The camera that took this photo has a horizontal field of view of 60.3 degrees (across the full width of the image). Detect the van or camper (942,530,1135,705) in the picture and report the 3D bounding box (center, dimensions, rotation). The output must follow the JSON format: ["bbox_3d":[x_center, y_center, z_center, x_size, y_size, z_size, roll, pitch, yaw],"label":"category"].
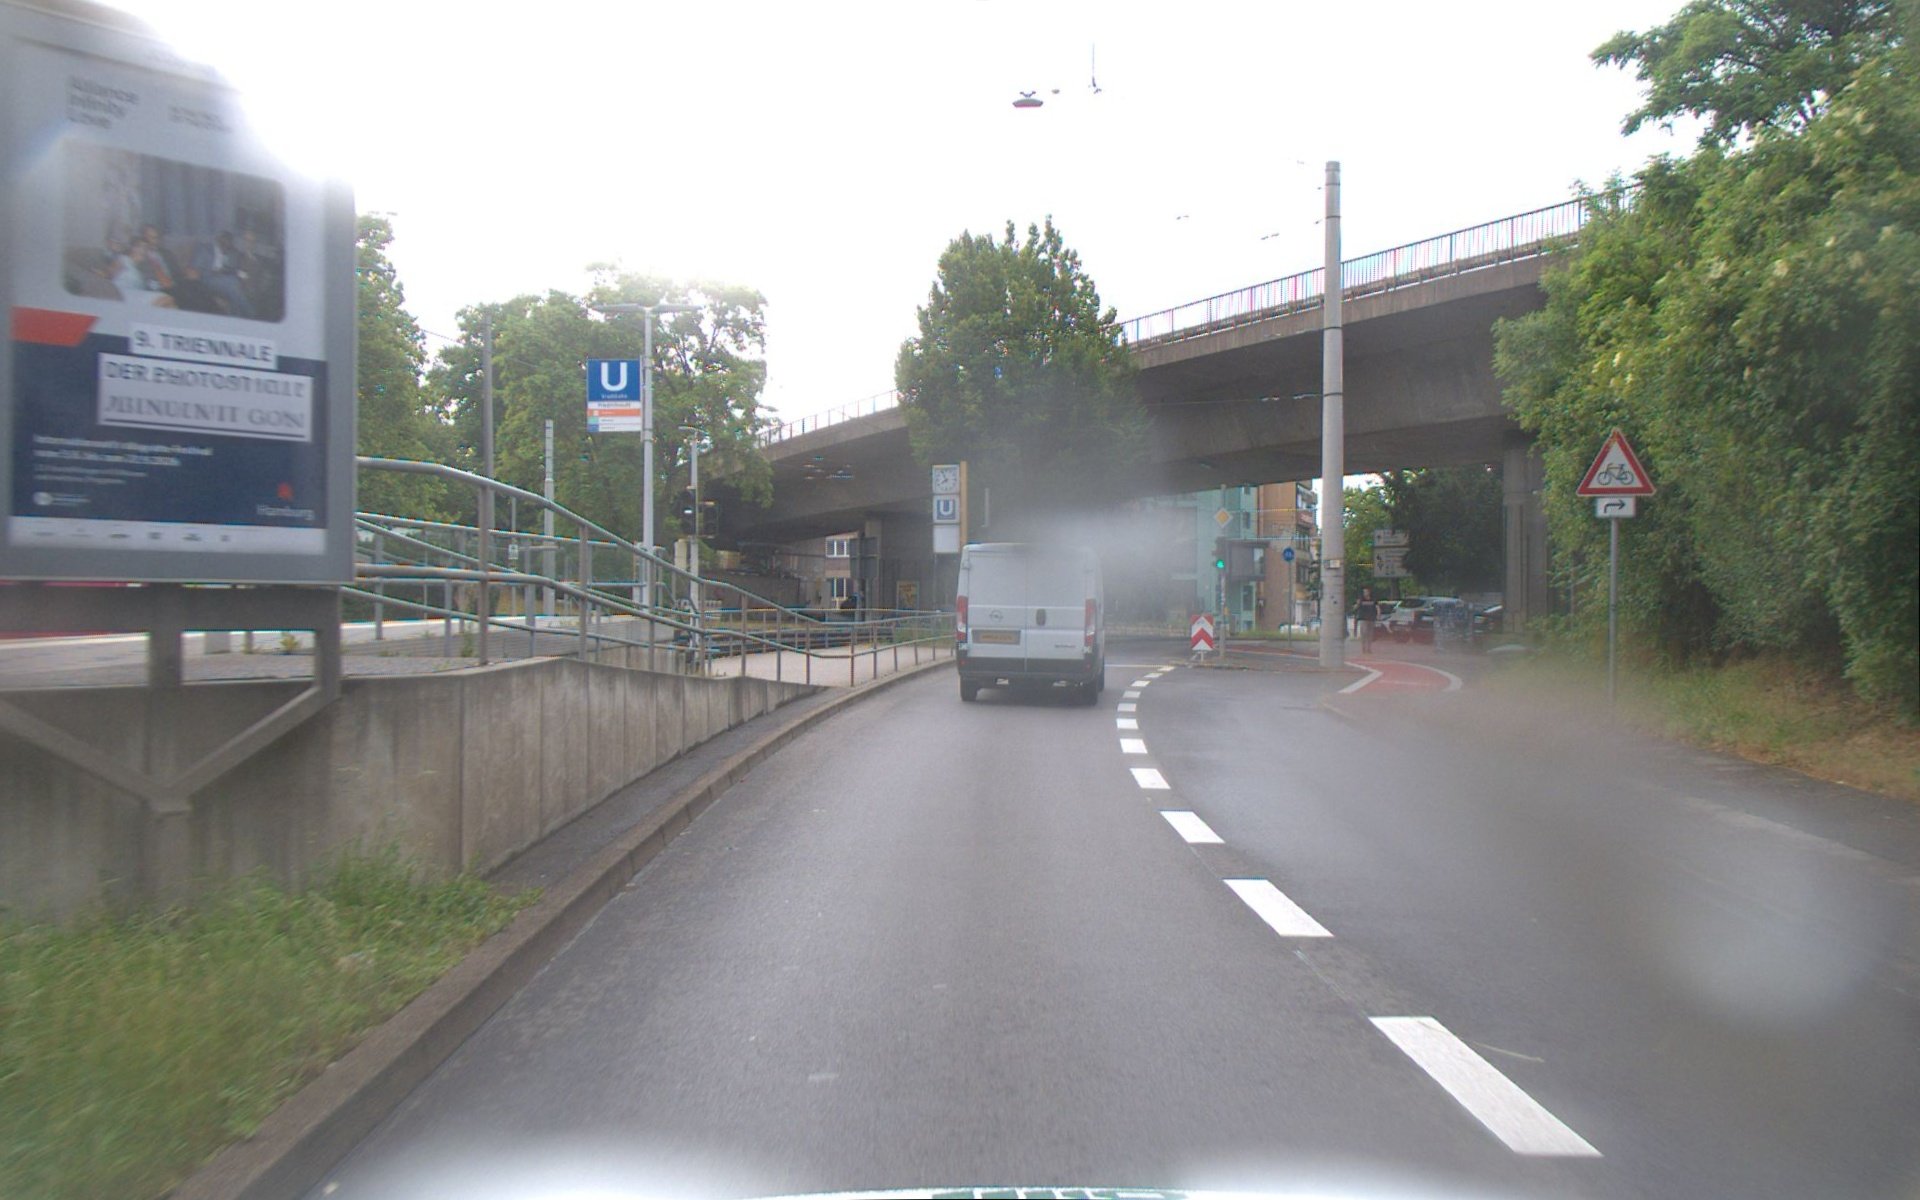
[{"bbox_3d":[1.312,0.284,25.007,2.152,2.292,4.687,3,-1,11],"label":"van or camper"}]

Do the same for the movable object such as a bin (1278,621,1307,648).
[{"bbox_3d":[29.314,3.013,145.730,2.090,2.194,1.802,2,0,22],"label":"movable object such as a bin"}]

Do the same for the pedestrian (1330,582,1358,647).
[{"bbox_3d":[11.026,0.421,47.515,0.612,1.840,0.836,3,-1,8],"label":"pedestrian"}]

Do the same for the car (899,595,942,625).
[{"bbox_3d":[-2.508,0.597,105.117,1.689,1.696,3.179,3,1,-21],"label":"car"}]

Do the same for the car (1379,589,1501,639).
[{"bbox_3d":[16.818,0.495,57.951,3.970,1.659,1.947,2,-1,-31],"label":"car"}]

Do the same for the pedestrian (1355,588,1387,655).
[{"bbox_3d":[11.771,0.618,47.368,0.585,1.854,0.909,3,-1,-4],"label":"pedestrian"}]

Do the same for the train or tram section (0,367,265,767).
[{"bbox_3d":[-11.020,-0.423,13.443,2.810,4.030,19.324,3,-1,-1],"label":"train or tram section"}]

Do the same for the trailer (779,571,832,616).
[{"bbox_3d":[-9.897,-0.407,105.498,1.969,2.773,4.088,2,-1,-26],"label":"trailer"}]

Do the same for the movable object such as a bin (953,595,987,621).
[{"bbox_3d":[0.617,0.500,104.274,1.536,1.505,1.789,2,1,-24],"label":"movable object such as a bin"}]

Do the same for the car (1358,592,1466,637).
[{"bbox_3d":[16.568,0.543,60.611,3.686,1.548,1.784,2,-1,-31],"label":"car"}]

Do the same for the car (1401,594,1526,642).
[{"bbox_3d":[16.742,0.607,54.934,3.996,1.464,1.768,2,0,-31],"label":"car"}]

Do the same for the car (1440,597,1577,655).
[{"bbox_3d":[17.331,0.821,52.242,3.942,1.599,1.888,3,-1,-28],"label":"car"}]
